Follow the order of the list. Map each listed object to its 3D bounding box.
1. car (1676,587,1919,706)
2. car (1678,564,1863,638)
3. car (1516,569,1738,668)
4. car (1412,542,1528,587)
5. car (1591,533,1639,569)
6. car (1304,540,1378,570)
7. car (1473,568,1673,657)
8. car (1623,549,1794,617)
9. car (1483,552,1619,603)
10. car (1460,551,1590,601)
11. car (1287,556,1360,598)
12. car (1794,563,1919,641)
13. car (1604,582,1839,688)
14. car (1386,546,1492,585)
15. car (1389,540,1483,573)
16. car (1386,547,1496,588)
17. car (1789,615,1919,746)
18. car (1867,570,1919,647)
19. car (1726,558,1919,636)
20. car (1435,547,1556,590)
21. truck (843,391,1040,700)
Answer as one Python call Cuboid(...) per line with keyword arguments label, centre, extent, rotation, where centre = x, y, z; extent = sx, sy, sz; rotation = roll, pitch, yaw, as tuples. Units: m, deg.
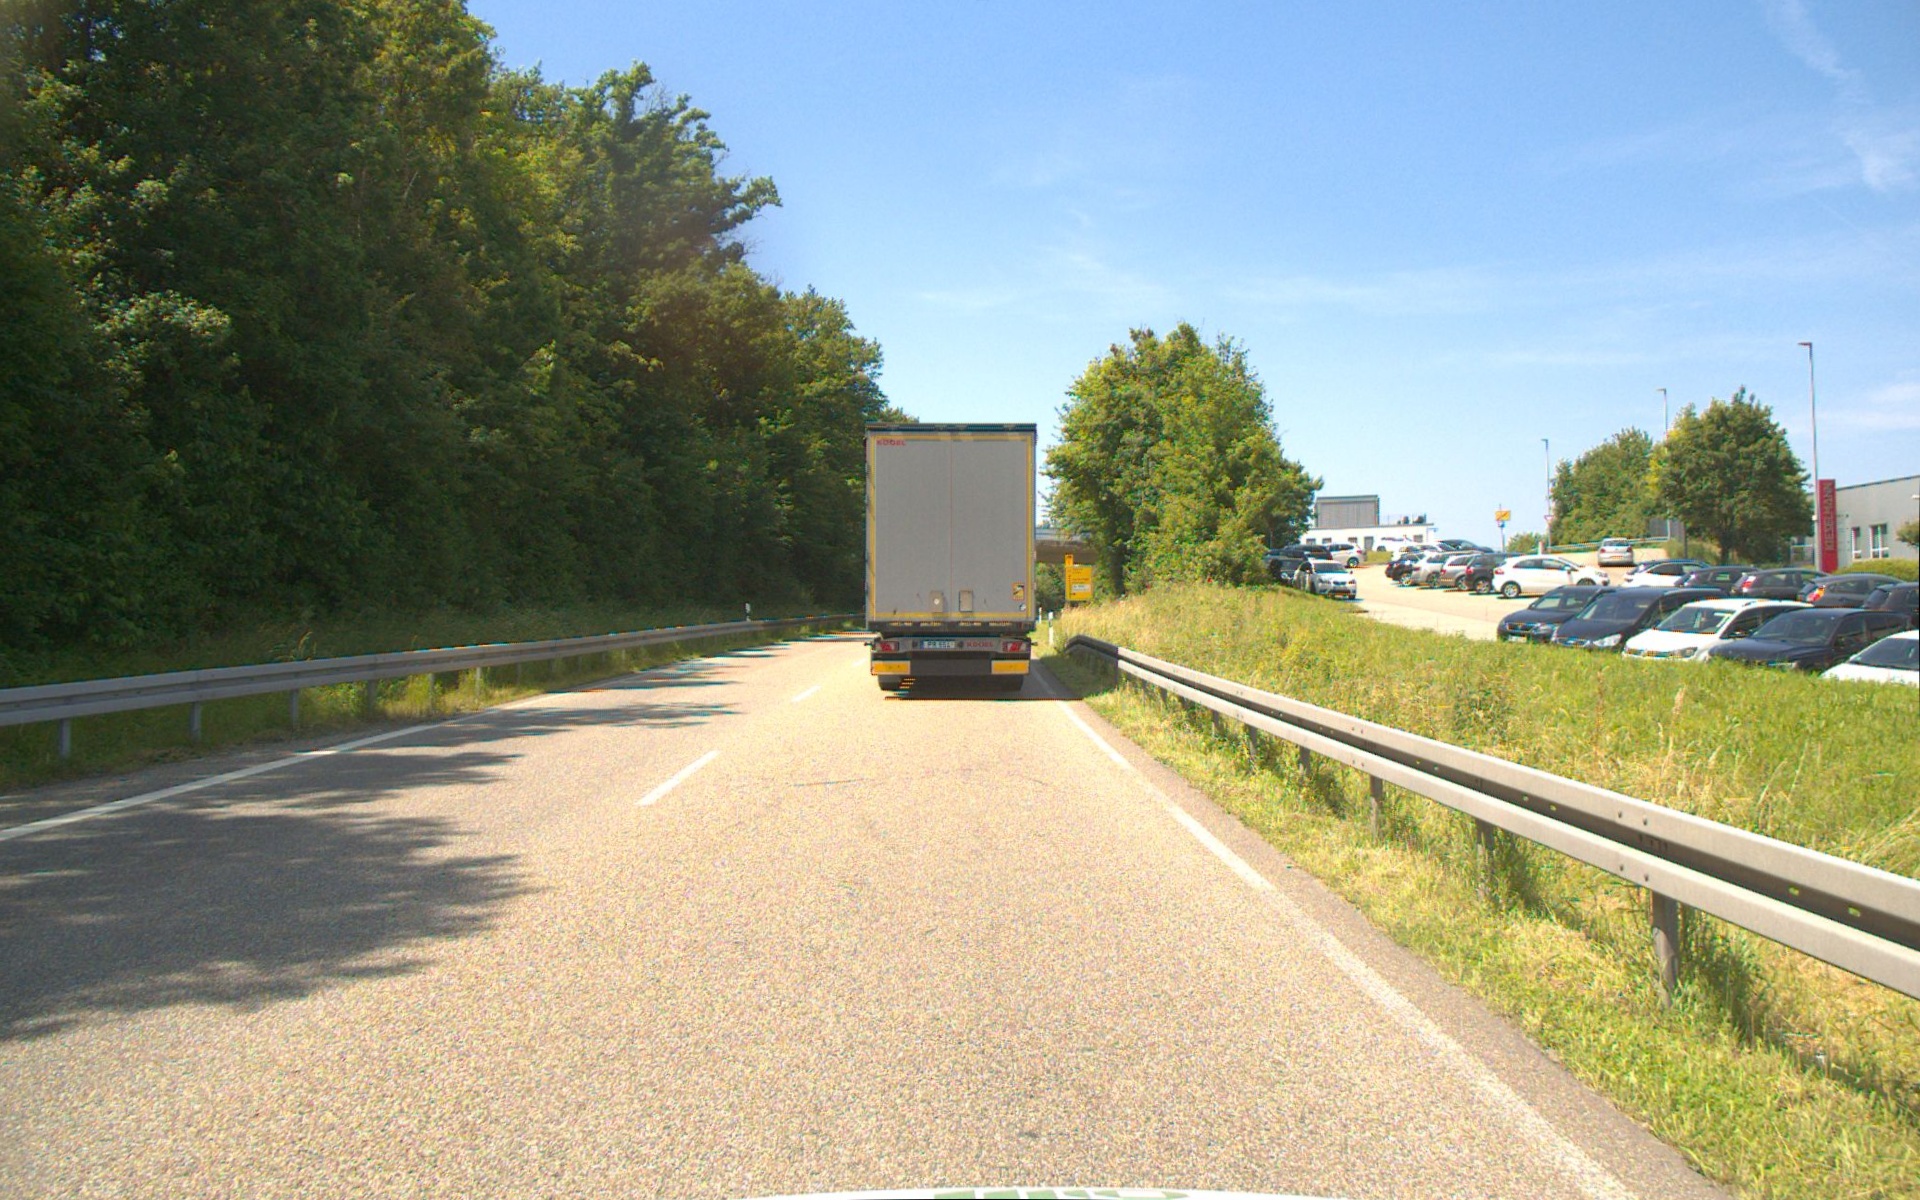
Cuboid(label="car", centre=(14.394, 0.802, 28.059), extent=(4.317, 1.714, 1.870), rotation=(3, 2, -30))
Cuboid(label="car", centre=(22.625, -0.004, 46.339), extent=(4.483, 1.656, 1.819), rotation=(5, 2, 25))
Cuboid(label="car", centre=(13.654, 0.379, 33.811), extent=(4.317, 1.714, 1.870), rotation=(3, 2, -30))
Cuboid(label="car", centre=(20.984, -1.486, 68.049), extent=(4.477, 1.657, 1.821), rotation=(3, 2, 19))
Cuboid(label="car", centre=(33.564, -2.509, 84.740), extent=(1.772, 1.691, 3.993), rotation=(1, 0, 29))
Cuboid(label="car", centre=(23.303, -2.743, 101.213), extent=(4.317, 1.714, 1.870), rotation=(-1, 5, -30))
Cuboid(label="car", centre=(13.887, 0.288, 37.432), extent=(4.317, 1.714, 1.870), rotation=(3, 2, -30))
Cuboid(label="car", centre=(22.439, -0.528, 49.669), extent=(4.483, 1.656, 1.819), rotation=(5, 2, 25))
Cuboid(label="car", centre=(21.135, -0.819, 59.253), extent=(4.477, 1.657, 1.821), rotation=(2, 1, 19))
Cuboid(label="car", centre=(21.108, -0.919, 61.852), extent=(4.477, 1.657, 1.821), rotation=(3, 2, 19))
Cuboid(label="car", centre=(13.884, -0.917, 63.361), extent=(1.593, 1.376, 3.708), rotation=(4, 2, -5))
Cuboid(label="car", centre=(22.977, 0.112, 40.382), extent=(4.483, 1.656, 1.819), rotation=(5, 2, 25))
Cuboid(label="car", centre=(14.557, 0.674, 31.575), extent=(4.317, 1.714, 1.870), rotation=(3, 2, -30))
Cuboid(label="car", centre=(21.554, -1.542, 74.386), extent=(4.477, 1.657, 1.821), rotation=(1, 0, 19))
Cuboid(label="car", centre=(25.497, -2.351, 88.621), extent=(4.491, 1.657, 1.815), rotation=(2, 0, 33))
Cuboid(label="car", centre=(20.753, -1.393, 71.316), extent=(4.476, 1.657, 1.821), rotation=(1, -1, 19))
Cuboid(label="car", centre=(15.016, 1.250, 25.499), extent=(4.317, 1.714, 1.870), rotation=(3, 2, -30))
Cuboid(label="car", centre=(23.118, 0.335, 37.260), extent=(4.483, 1.656, 1.819), rotation=(5, 2, 25))
Cuboid(label="car", centre=(22.782, -0.110, 43.730), extent=(4.483, 1.656, 1.819), rotation=(5, 2, 25))
Cuboid(label="car", centre=(21.037, -1.225, 65.022), extent=(4.476, 1.657, 1.821), rotation=(0, 1, 19))
Cuboid(label="truck", centre=(-0.334, -0.815, 28.733), extent=(2.808, 4.435, 9.787), rotation=(0, 0, -1))
